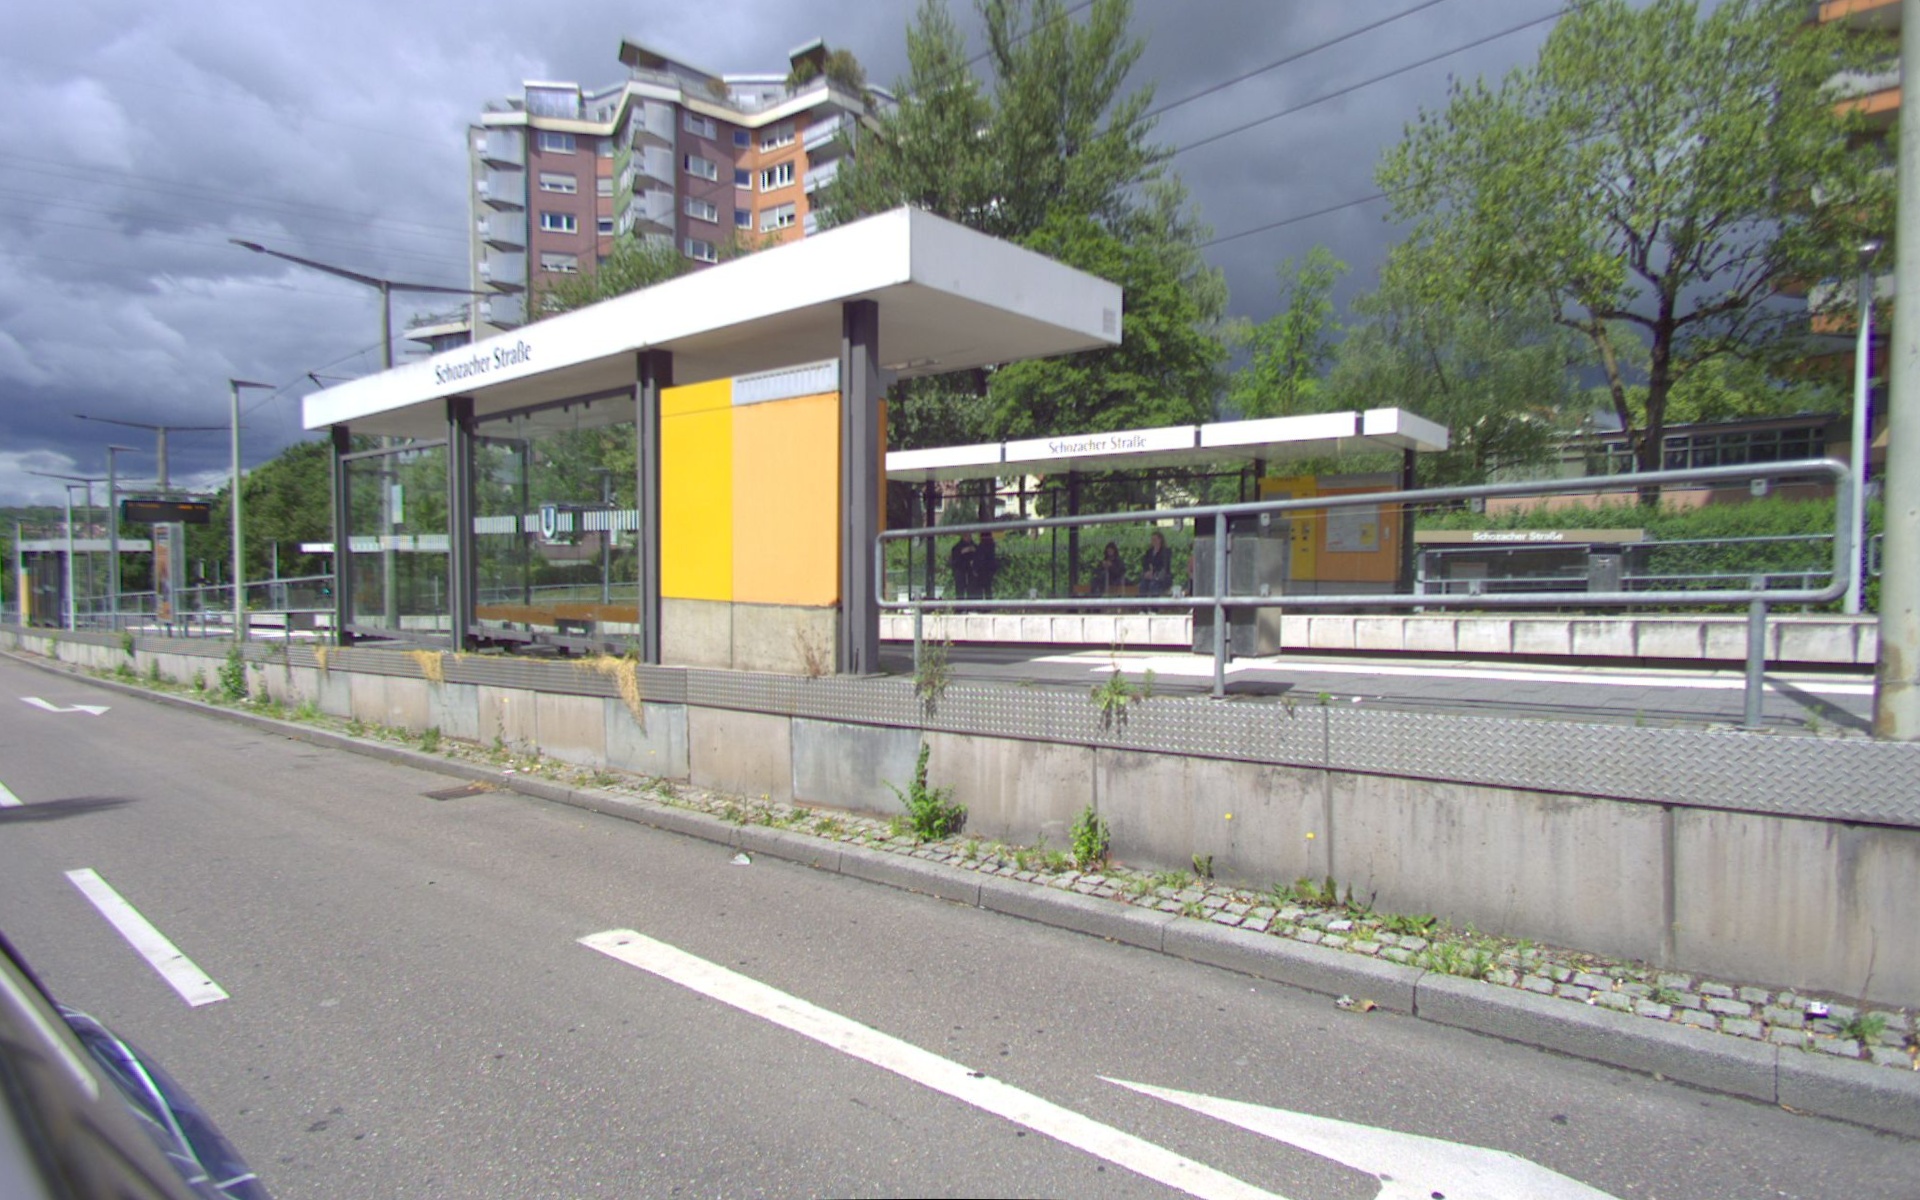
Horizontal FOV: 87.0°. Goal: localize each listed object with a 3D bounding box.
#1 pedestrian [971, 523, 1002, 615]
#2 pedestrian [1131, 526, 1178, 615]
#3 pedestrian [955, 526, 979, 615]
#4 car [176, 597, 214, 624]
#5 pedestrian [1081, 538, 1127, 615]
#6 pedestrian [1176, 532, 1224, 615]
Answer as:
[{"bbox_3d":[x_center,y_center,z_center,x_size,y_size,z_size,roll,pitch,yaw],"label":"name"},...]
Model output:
[{"bbox_3d":[0.503,-0.580,19.279,0.544,1.726,0.386,-1,0,-2],"label":"pedestrian"},{"bbox_3d":[3.204,-0.476,16.685,0.463,1.428,0.704,-1,0,40],"label":"pedestrian"},{"bbox_3d":[0.138,-0.573,19.773,0.421,1.726,0.353,-1,0,-1],"label":"pedestrian"},{"bbox_3d":[-60.460,0.840,79.996,4.000,2.029,1.714,-1,0,43],"label":"car"},{"bbox_3d":[2.489,-0.397,17.485,0.463,1.287,0.704,-1,0,40],"label":"pedestrian"},{"bbox_3d":[3.828,-0.414,16.132,0.463,1.287,0.704,-1,0,40],"label":"pedestrian"}]
